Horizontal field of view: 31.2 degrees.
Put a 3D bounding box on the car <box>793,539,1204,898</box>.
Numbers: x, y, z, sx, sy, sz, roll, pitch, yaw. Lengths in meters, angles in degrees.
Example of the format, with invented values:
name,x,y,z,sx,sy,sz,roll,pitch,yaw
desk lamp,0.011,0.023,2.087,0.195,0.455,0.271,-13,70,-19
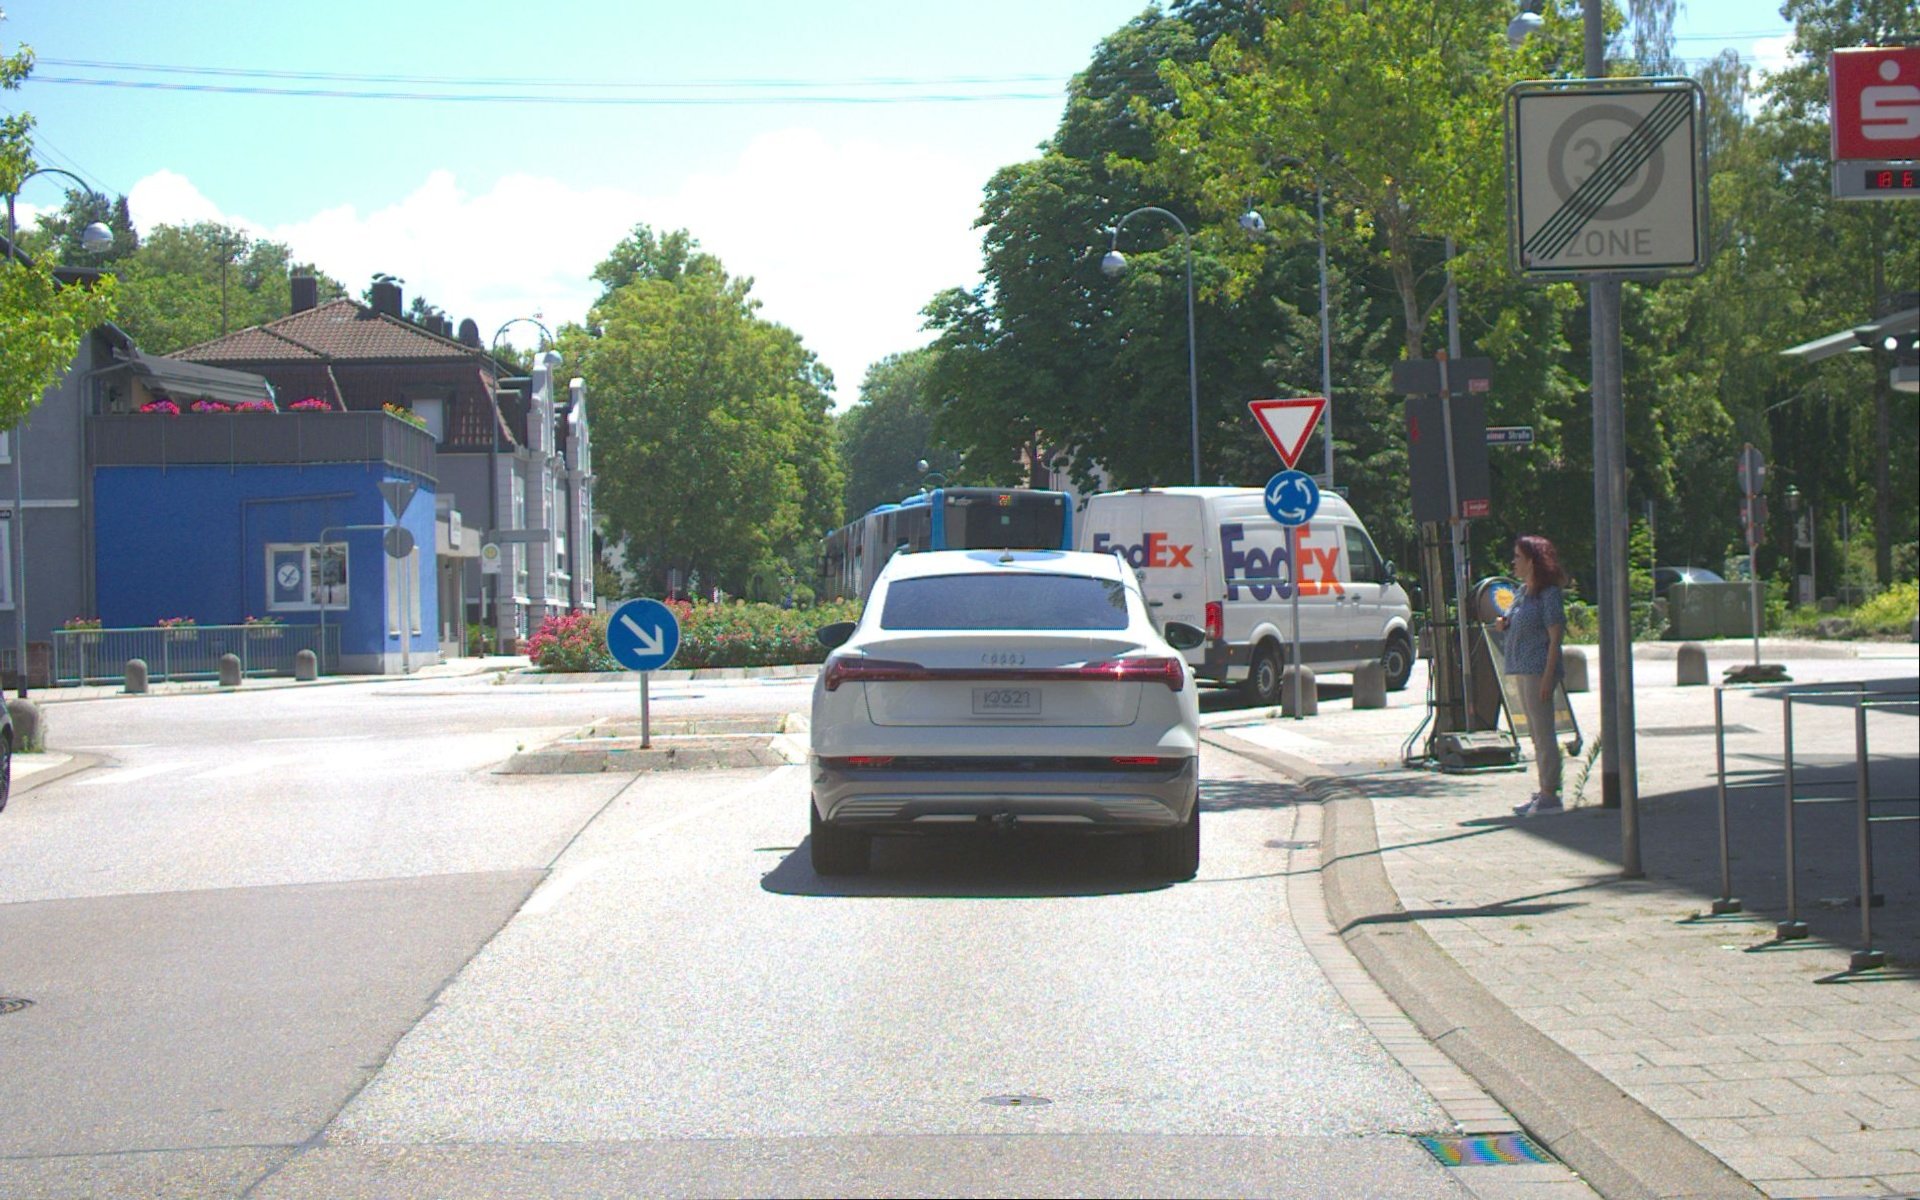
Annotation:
name,x,y,z,sx,sy,sz,roll,pitch,yaw
car,0.170,0.535,18.103,1.898,1.656,4.409,0,0,0

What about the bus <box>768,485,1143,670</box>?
name,x,y,z,sx,sy,sz,roll,pitch,yaw
bus,-0.544,-0.345,68.327,3.705,3.160,18.073,1,0,-12

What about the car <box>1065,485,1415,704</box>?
name,x,y,z,sx,sy,sz,roll,pitch,yaw
car,3.510,-0.094,41.957,1.997,2.472,5.475,-1,0,31

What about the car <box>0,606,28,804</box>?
name,x,y,z,sx,sy,sz,roll,pitch,yaw
car,-7.964,0.781,24.734,1.666,1.481,4.061,1,0,-4

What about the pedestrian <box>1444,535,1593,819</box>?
name,x,y,z,sx,sy,sz,roll,pitch,yaw
pedestrian,3.232,0.440,19.932,0.732,1.604,0.559,-2,0,1
